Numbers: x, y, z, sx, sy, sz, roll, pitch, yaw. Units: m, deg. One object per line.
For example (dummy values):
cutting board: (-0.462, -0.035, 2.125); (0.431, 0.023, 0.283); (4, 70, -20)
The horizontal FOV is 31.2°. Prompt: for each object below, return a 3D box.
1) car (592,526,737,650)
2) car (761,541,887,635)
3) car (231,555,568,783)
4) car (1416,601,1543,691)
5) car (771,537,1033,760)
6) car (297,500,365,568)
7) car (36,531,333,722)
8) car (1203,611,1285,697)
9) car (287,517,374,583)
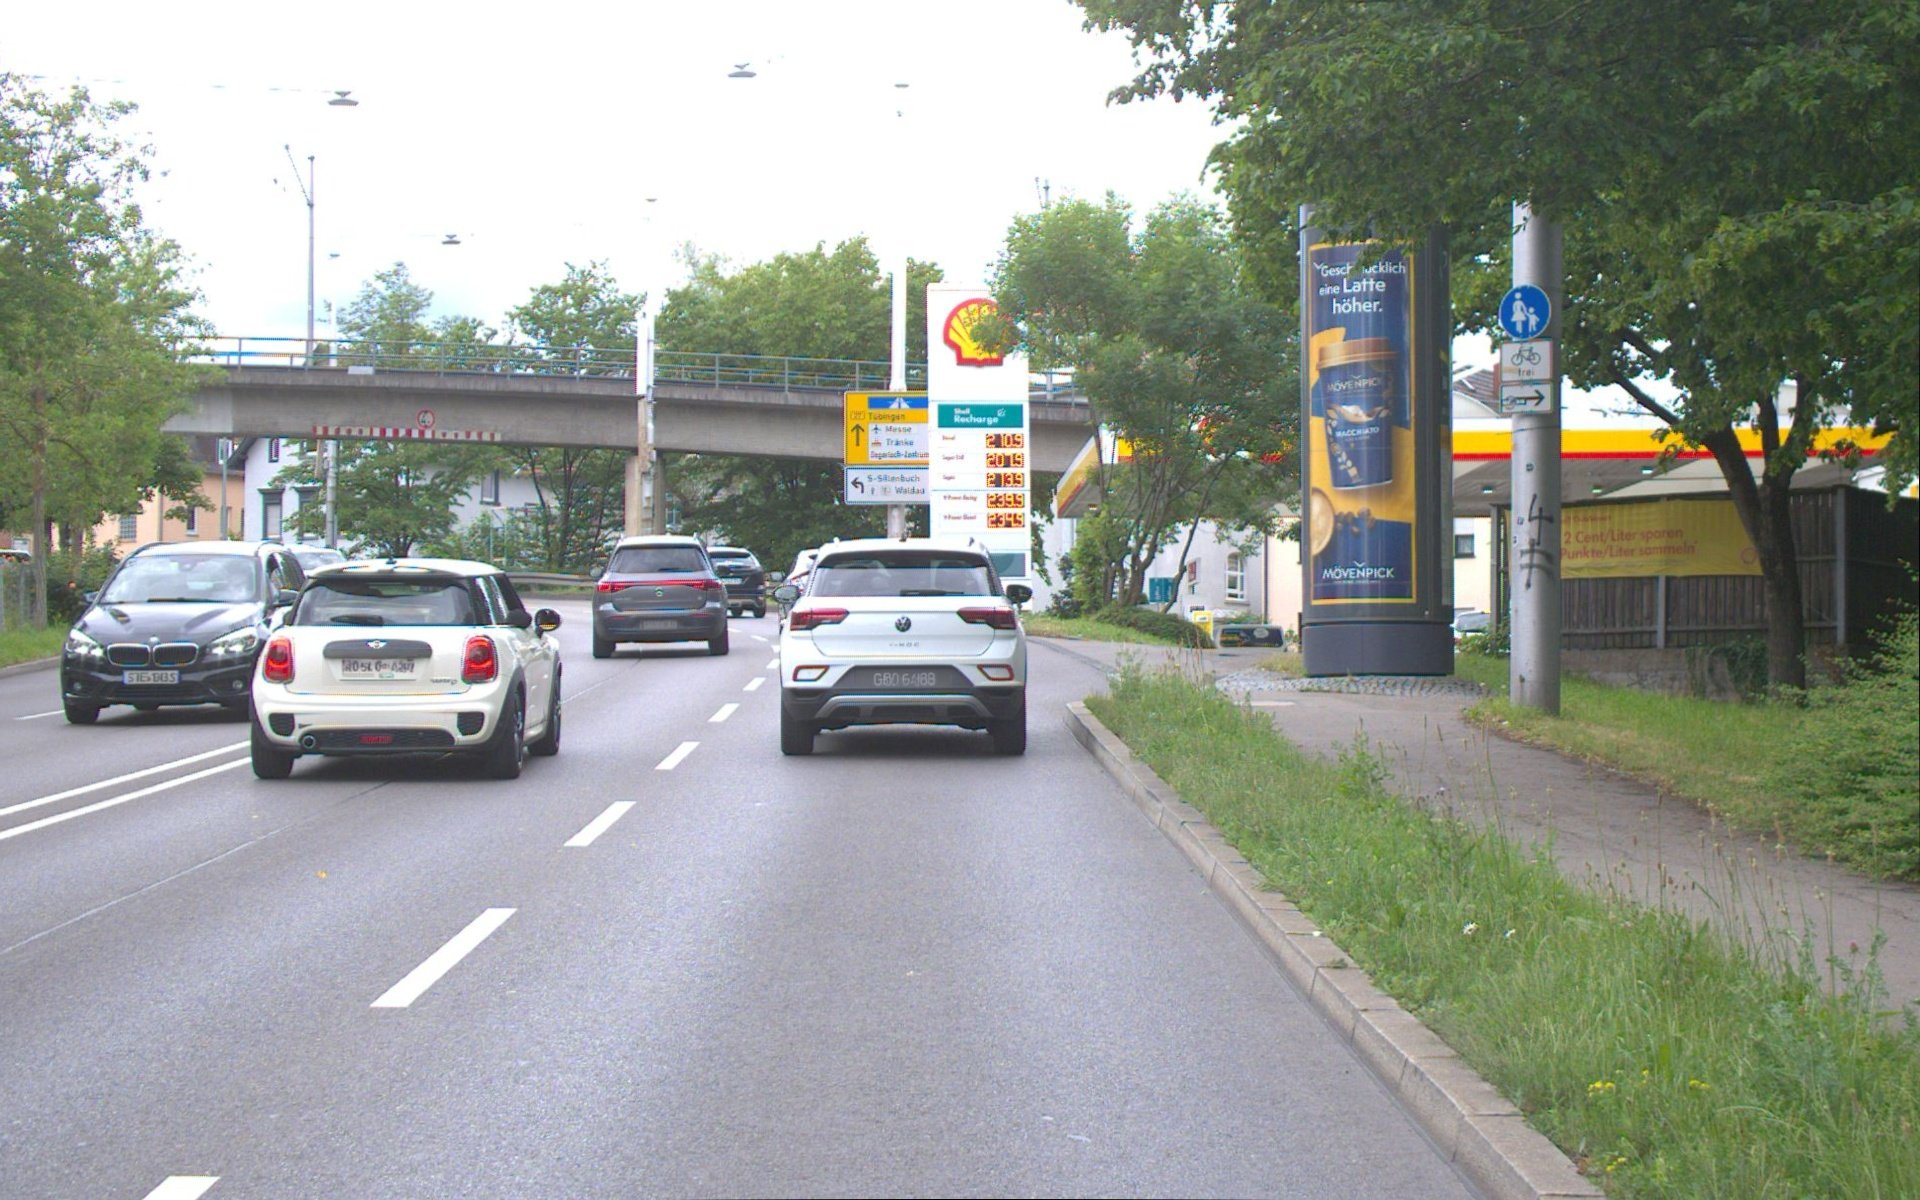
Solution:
car: (-4.031, -0.194, 47.317); (1.722, 1.634, 3.457); (1, 1, -1)
car: (-2.174, -0.211, 54.173); (1.675, 1.404, 3.457); (0, 1, -8)
car: (-3.687, 0.408, 23.125); (1.722, 1.371, 3.457); (1, 1, -1)
car: (9.163, 0.844, 60.890); (1.735, 1.481, 3.877); (-1, -2, 1)
car: (-0.420, 0.305, 25.477); (1.797, 1.513, 3.457); (1, 1, -1)
car: (-18.145, -1.910, 99.077); (1.897, 1.930, 4.001); (0, 1, -11)
car: (-6.979, 0.186, 31.363); (1.764, 1.587, 4.366); (0, 1, -1)
car: (7.011, 1.362, 85.182); (1.735, 2.003, 4.712); (-1, -2, 1)
car: (-15.257, -1.238, 83.453); (1.785, 1.533, 4.077); (0, 1, -6)
